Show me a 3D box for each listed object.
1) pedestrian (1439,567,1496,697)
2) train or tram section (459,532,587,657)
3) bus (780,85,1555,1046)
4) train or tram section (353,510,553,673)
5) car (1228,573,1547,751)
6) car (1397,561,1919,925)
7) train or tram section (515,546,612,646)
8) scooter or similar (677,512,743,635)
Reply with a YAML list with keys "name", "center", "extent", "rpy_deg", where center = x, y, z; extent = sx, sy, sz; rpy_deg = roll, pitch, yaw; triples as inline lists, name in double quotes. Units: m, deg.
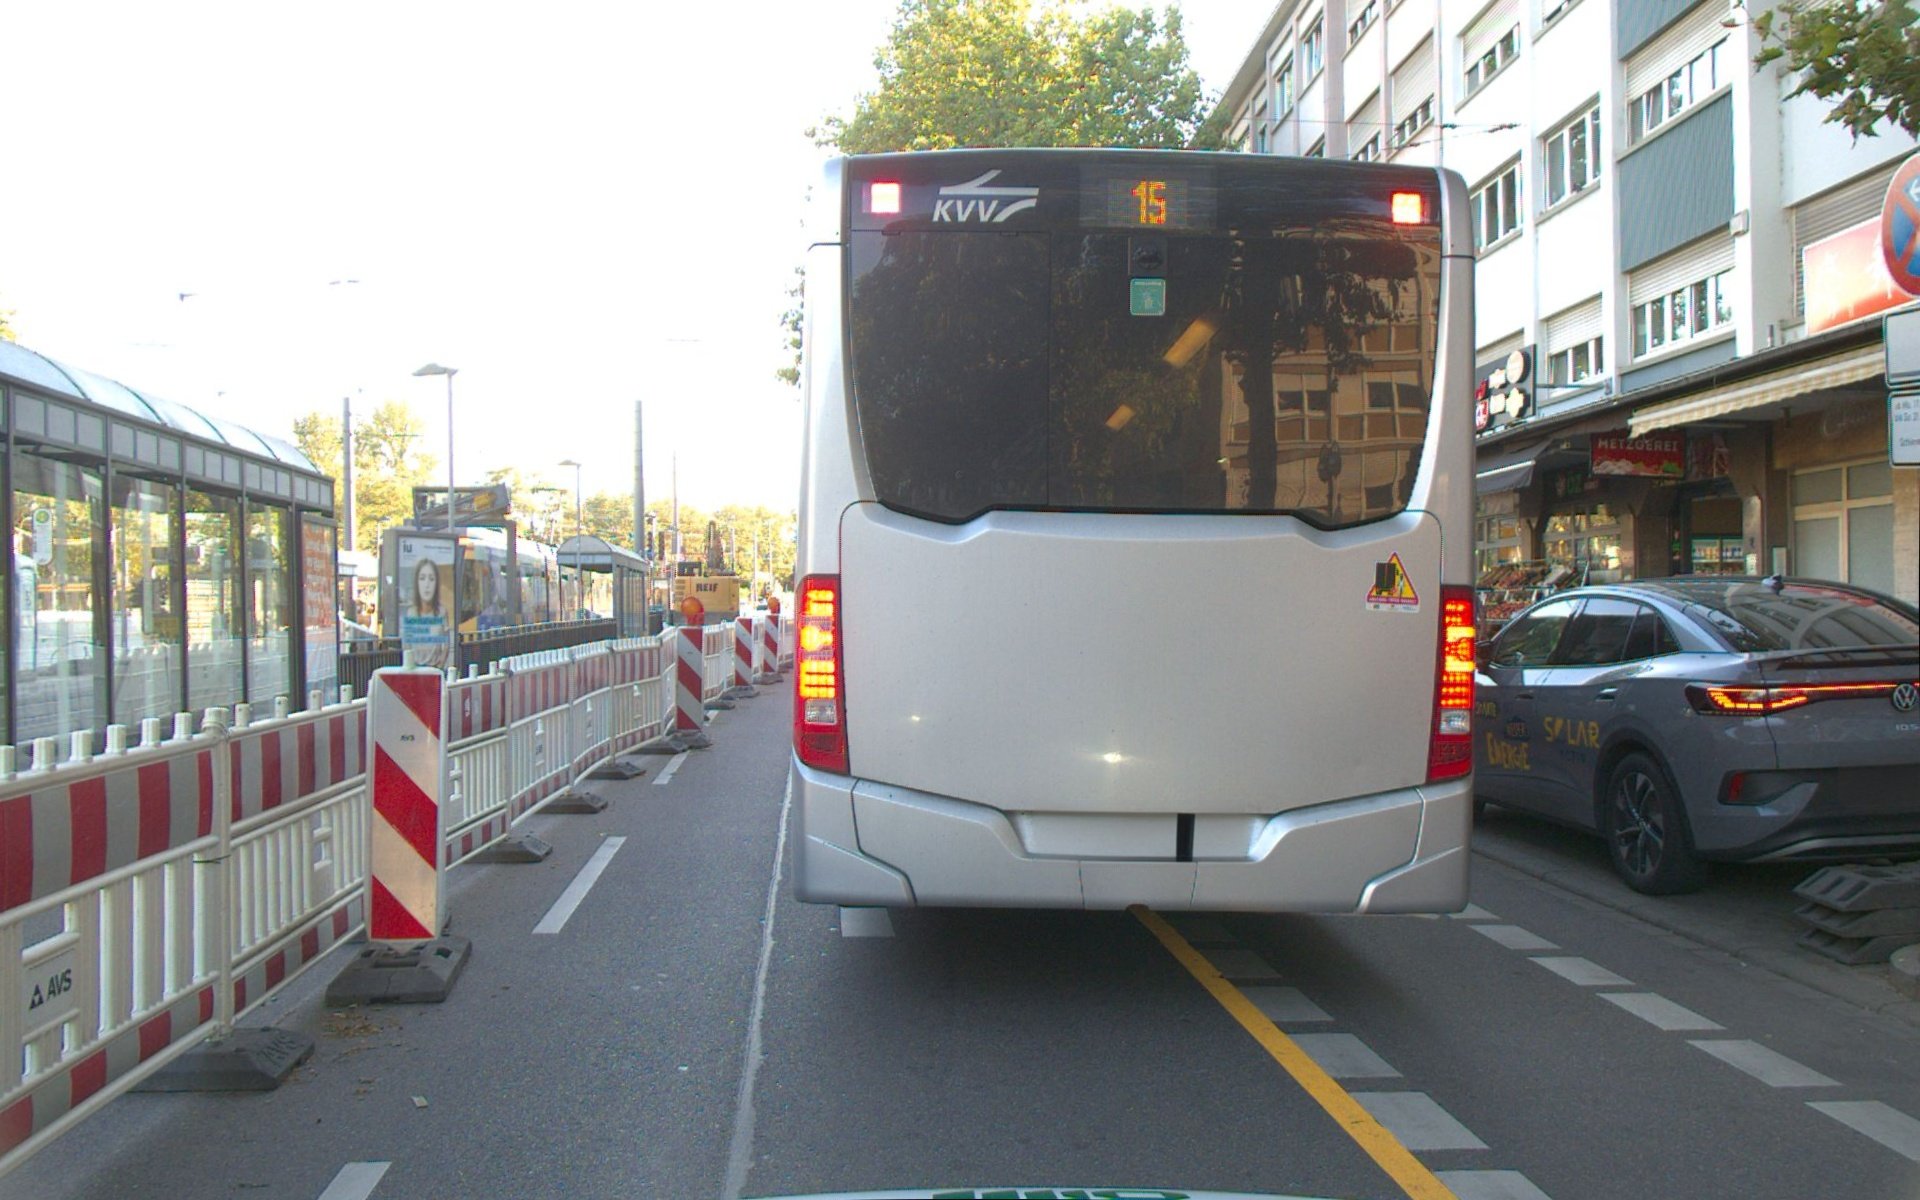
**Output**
- name: "pedestrian"
  center: [6.785, 0.428, 22.131]
  extent: [0.649, 1.696, 0.601]
  rpy_deg: [-2, -1, 15]
- name: "train or tram section"
  center: [-14.107, -0.149, 54.262]
  extent: [2.636, 3.621, 11.560]
  rpy_deg: [1, 0, -8]
- name: "bus"
  center: [0.655, -0.101, 9.566]
  extent: [2.558, 3.181, 7.991]
  rpy_deg: [1, 0, -1]
- name: "train or tram section"
  center: [-12.720, -0.168, 42.675]
  extent: [2.635, 3.595, 11.756]
  rpy_deg: [1, 0, -6]
- name: "car"
  center: [4.469, 0.579, 18.054]
  extent: [1.955, 1.609, 4.363]
  rpy_deg: [-3, 1, -5]
- name: "car"
  center: [4.359, 0.628, 9.868]
  extent: [1.955, 1.609, 4.363]
  rpy_deg: [-3, 1, -5]
- name: "train or tram section"
  center: [-15.581, -0.128, 65.713]
  extent: [2.636, 3.594, 11.560]
  rpy_deg: [1, 0, -8]
- name: "scooter or similar"
  center: [-9.681, -0.967, 64.340]
  extent: [2.422, 4.549, 5.962]
  rpy_deg: [0, 0, -8]
